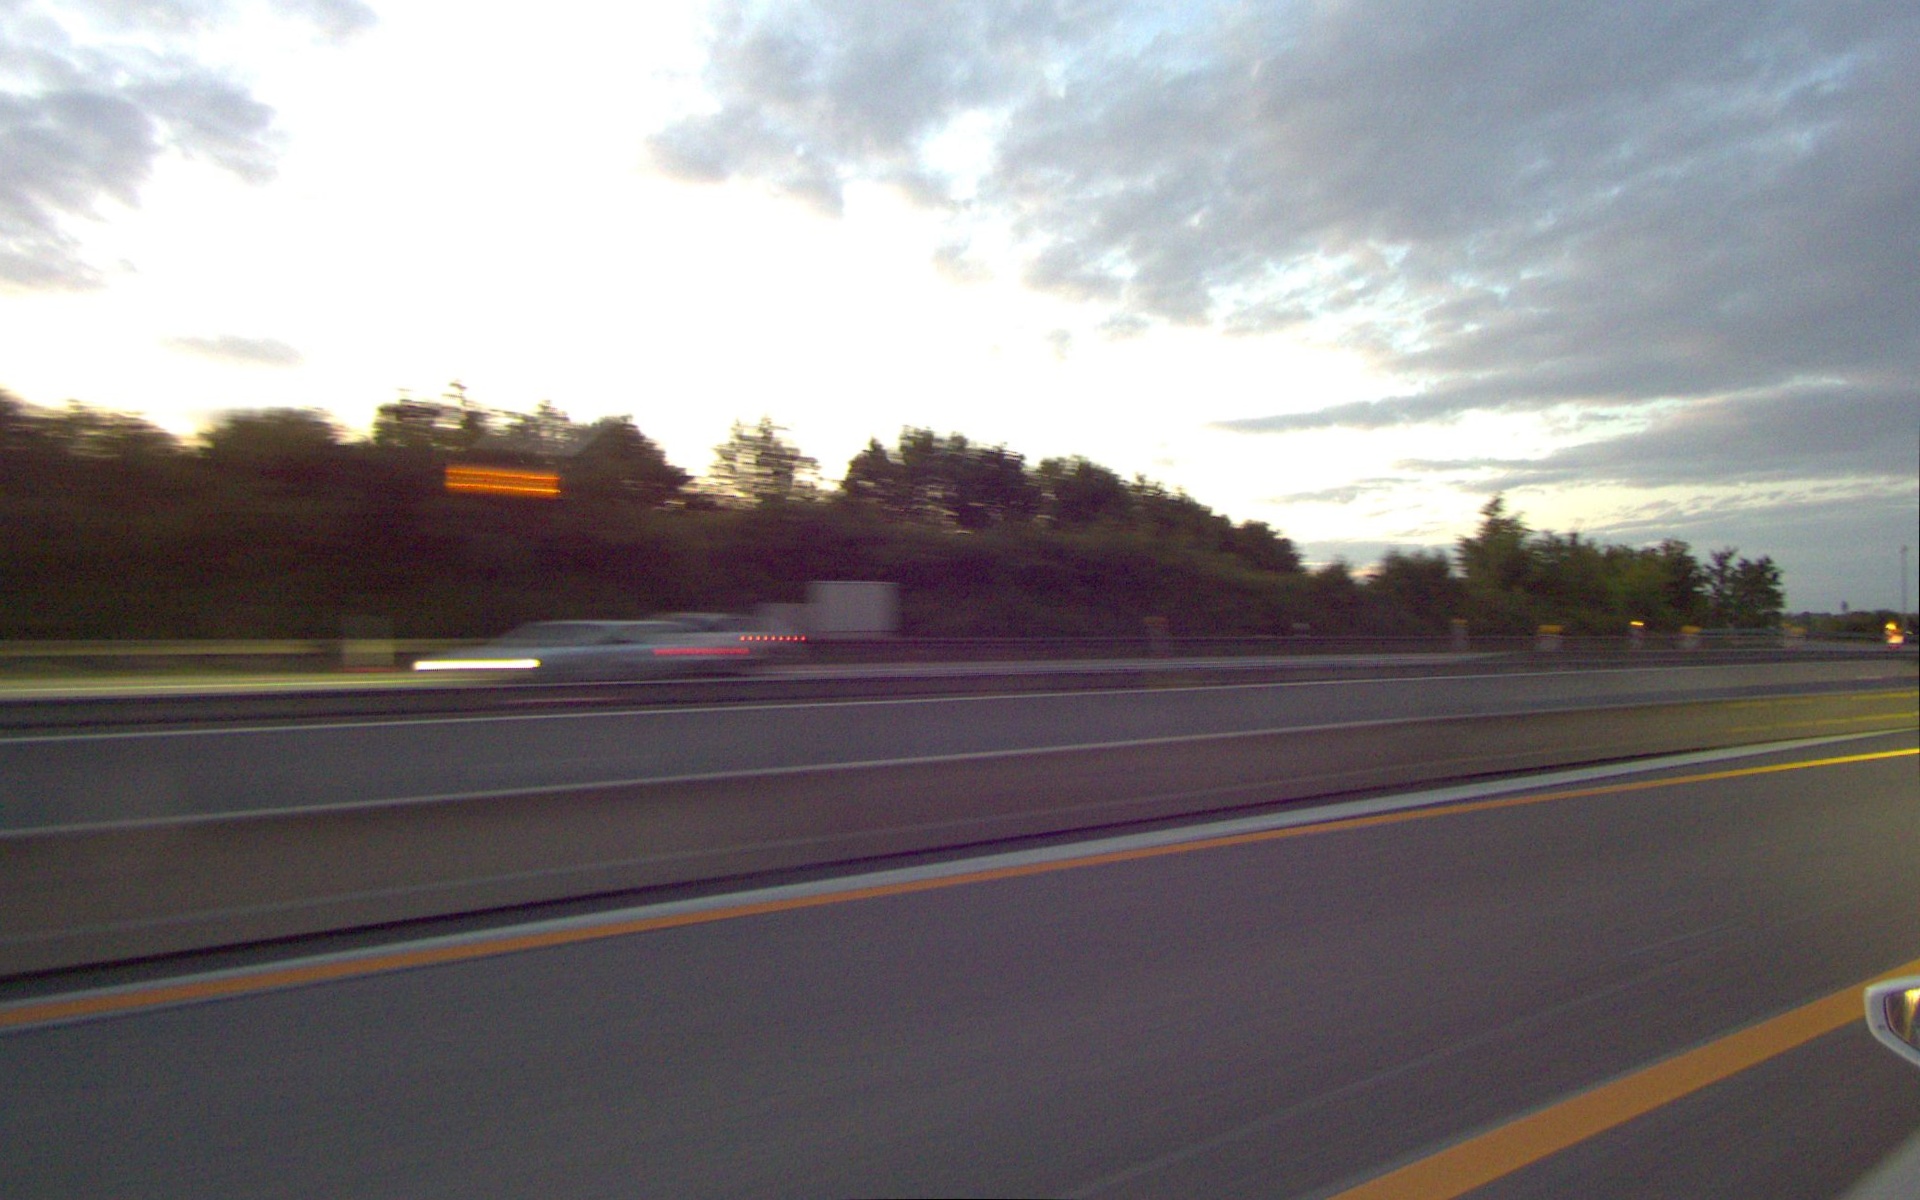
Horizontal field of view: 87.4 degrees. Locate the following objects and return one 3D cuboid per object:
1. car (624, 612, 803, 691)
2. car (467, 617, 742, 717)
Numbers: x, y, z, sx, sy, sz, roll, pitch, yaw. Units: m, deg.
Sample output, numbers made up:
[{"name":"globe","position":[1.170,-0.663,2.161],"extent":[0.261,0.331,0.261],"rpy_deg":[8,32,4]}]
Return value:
[{"name":"car","position":[-6.068,1.237,24.751],"extent":[3.897,1.737,1.898],"rpy_deg":[2,0,-30]},{"name":"car","position":[-6.868,1.245,19.594],"extent":[4.786,1.683,1.821],"rpy_deg":[2,0,-31]}]
